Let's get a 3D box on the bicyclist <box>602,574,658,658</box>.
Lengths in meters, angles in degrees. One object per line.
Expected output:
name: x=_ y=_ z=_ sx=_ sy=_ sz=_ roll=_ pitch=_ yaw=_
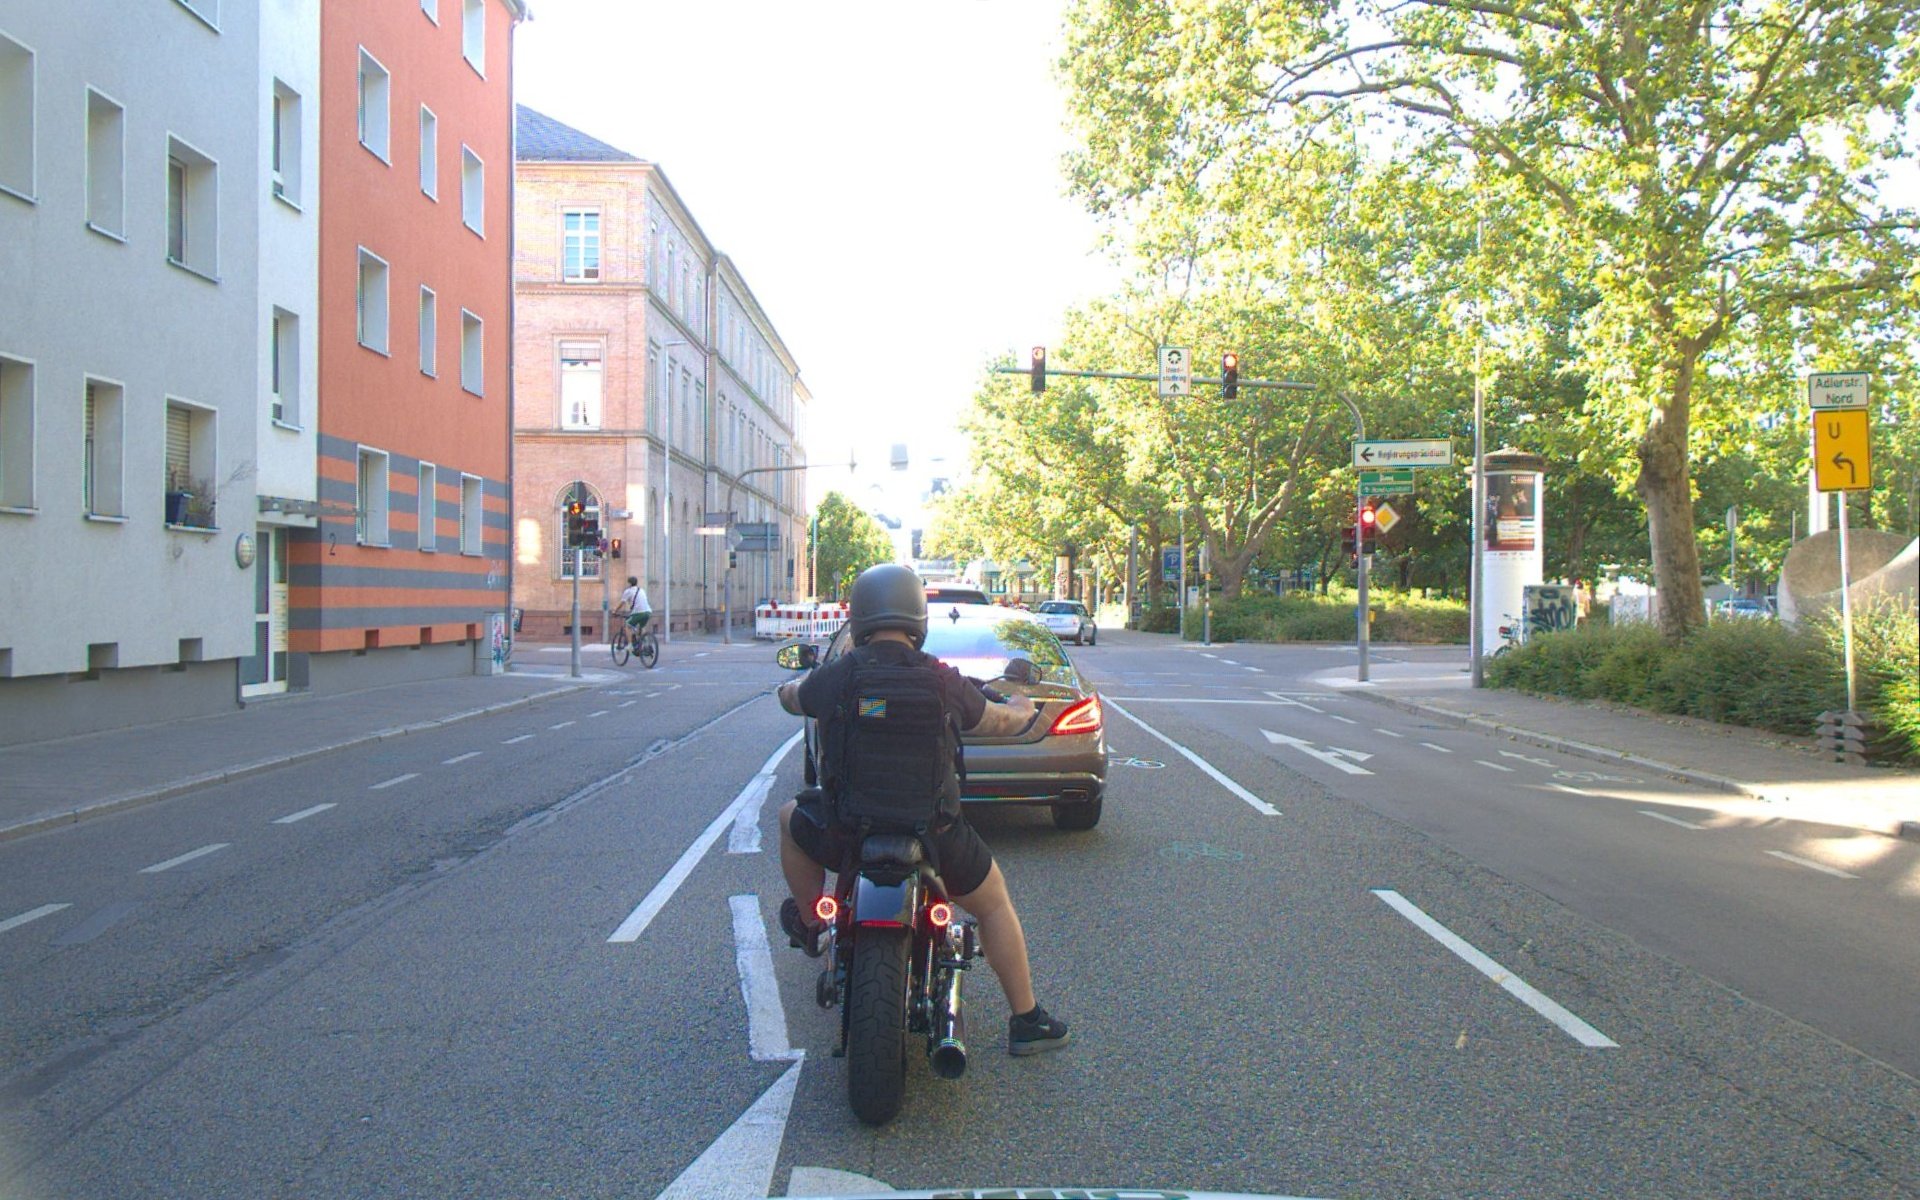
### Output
bicyclist: x=-6.911 y=0.325 z=34.660 sx=0.944 sy=1.722 sz=0.704 roll=0 pitch=0 yaw=31

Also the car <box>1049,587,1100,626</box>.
car: x=4.630 y=0.256 z=67.262 sx=1.817 sy=1.512 sz=3.908 roll=1 pitch=0 yaw=1

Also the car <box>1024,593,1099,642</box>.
car: x=3.338 y=0.559 z=53.945 sx=1.782 sy=1.506 sz=3.911 roll=-1 pitch=0 yaw=13

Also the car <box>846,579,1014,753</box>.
car: x=-0.335 y=0.615 z=17.734 sx=1.580 sy=1.636 sz=4.327 roll=0 pitch=0 yaw=-2

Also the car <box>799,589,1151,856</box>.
car: x=-0.113 y=0.680 z=11.570 sx=1.909 sy=1.498 sz=4.355 roll=0 pitch=0 yaw=-7

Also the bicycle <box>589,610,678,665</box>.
bicycle: x=-6.840 y=0.772 z=34.620 sx=1.839 sy=1.123 sz=0.704 roll=0 pitch=0 yaw=31

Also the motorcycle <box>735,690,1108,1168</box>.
motorcycle: x=-0.117 y=0.922 z=5.531 sx=0.969 sy=1.097 sz=2.451 roll=0 pitch=0 yaw=-1

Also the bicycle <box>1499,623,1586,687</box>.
bicycle: x=9.758 y=0.919 z=27.714 sx=1.324 sy=1.041 sz=0.363 roll=0 pitch=0 yaw=0

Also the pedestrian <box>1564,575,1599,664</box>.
pedestrian: x=13.286 y=0.414 z=35.361 sx=0.540 sy=1.881 sz=0.593 roll=0 pitch=0 yaw=0

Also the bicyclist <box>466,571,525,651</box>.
bicyclist: x=-10.268 y=0.245 z=36.575 sx=1.023 sy=1.724 sz=0.705 roll=-1 pitch=-1 yaw=25

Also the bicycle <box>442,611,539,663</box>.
bicycle: x=-10.400 y=0.820 z=36.617 sx=2.114 sy=1.123 sz=0.705 roll=-1 pitch=-1 yaw=26

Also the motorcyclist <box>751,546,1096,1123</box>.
motorcyclist: x=-0.112 y=0.659 z=5.376 sx=0.969 sy=1.625 sz=1.403 roll=0 pitch=0 yaw=-1
